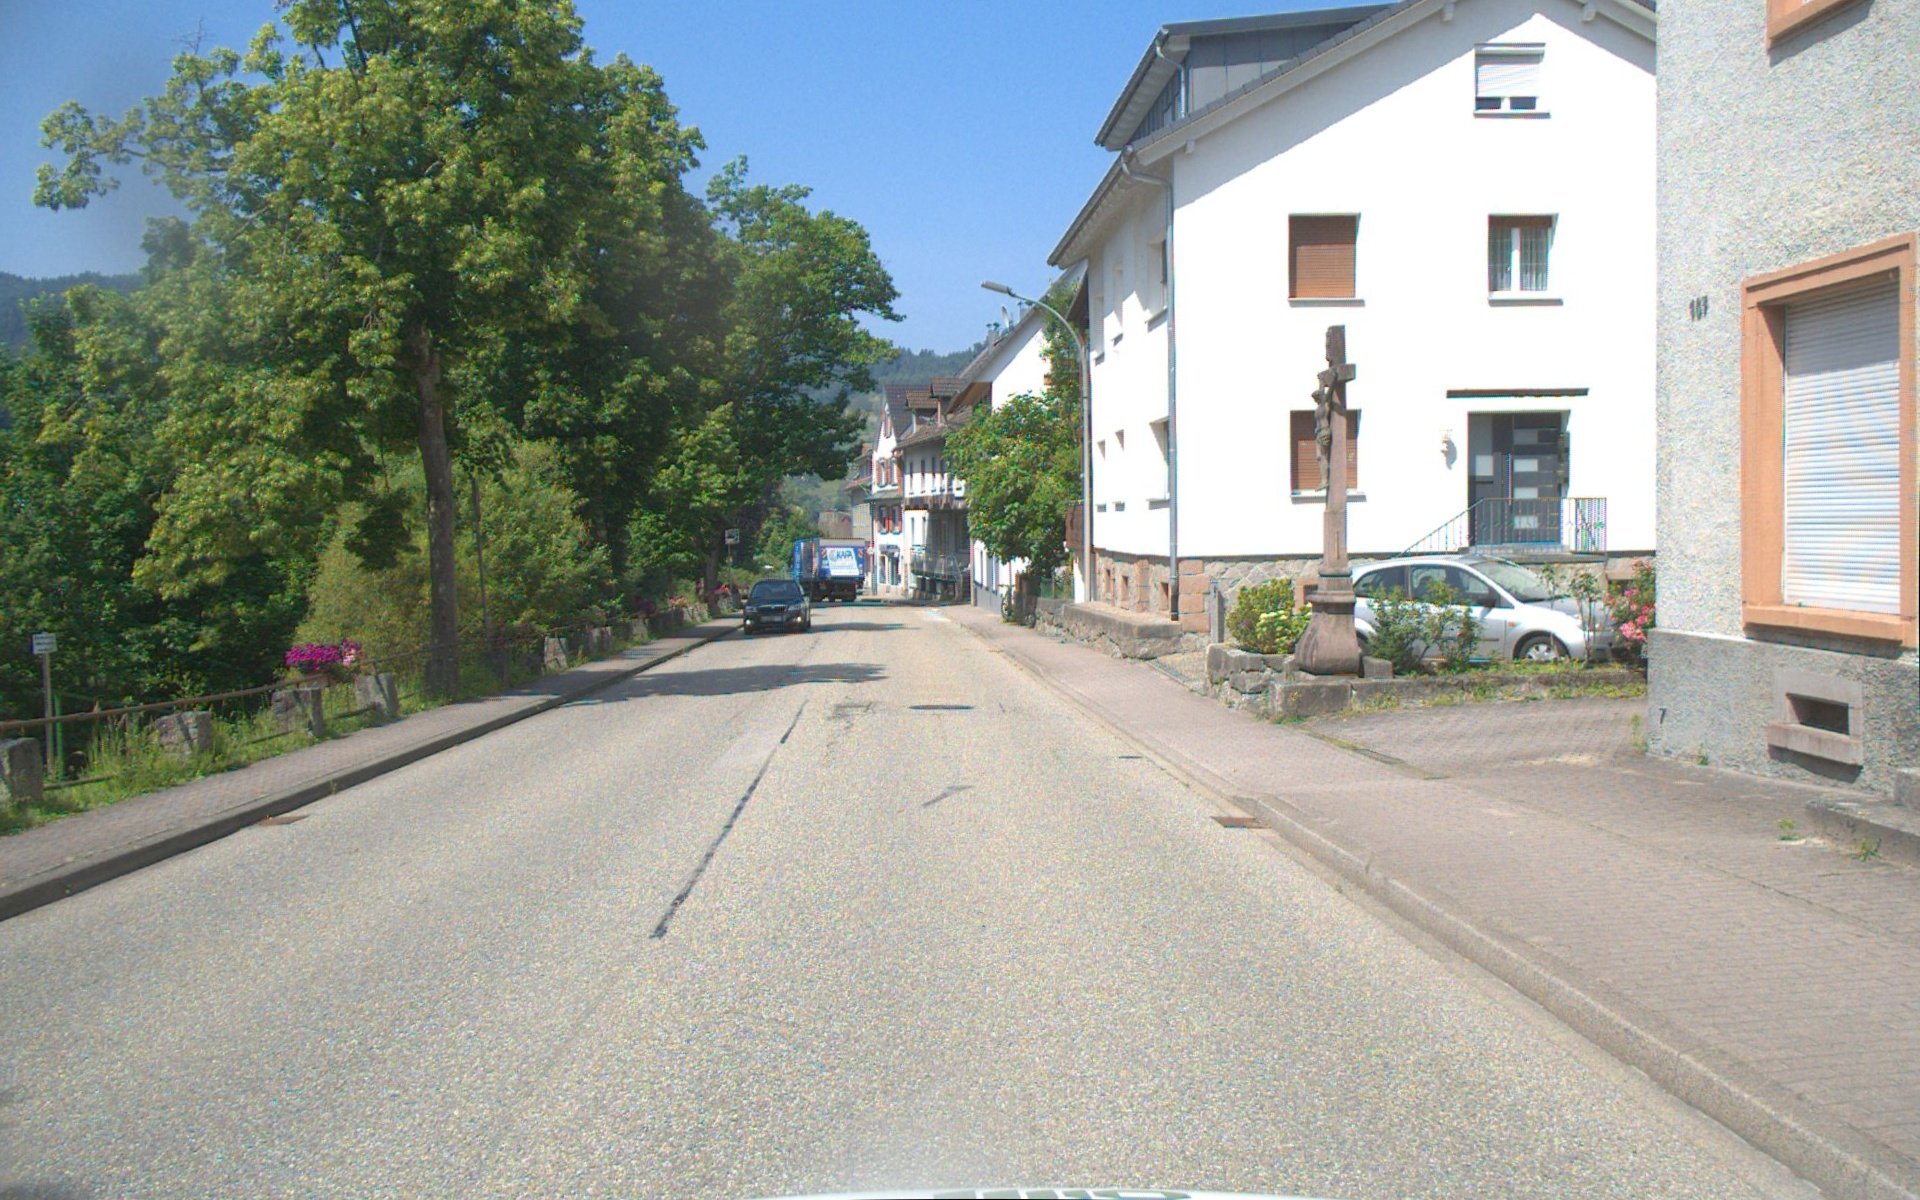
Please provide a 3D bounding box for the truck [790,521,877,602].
[{"bbox_3d":[-7.146,-2.057,92.028,3.307,3.847,8.409,-4,-1,-14],"label":"truck"}]

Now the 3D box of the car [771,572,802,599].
[{"bbox_3d":[-13.107,-1.074,125.063,1.744,1.764,3.986,-5,-1,-13],"label":"car"}]

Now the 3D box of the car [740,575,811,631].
[{"bbox_3d":[-5.146,0.058,46.446,1.633,1.442,4.085,-3,1,-2],"label":"car"}]

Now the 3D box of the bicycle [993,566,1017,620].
[{"bbox_3d":[1.251,-0.208,46.211,0.417,1.420,2.276,-4,1,-2],"label":"bicycle"}]

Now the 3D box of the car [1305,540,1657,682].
[{"bbox_3d":[6.236,0.098,20.003,3.710,1.451,1.601,0,6,43],"label":"car"}]
